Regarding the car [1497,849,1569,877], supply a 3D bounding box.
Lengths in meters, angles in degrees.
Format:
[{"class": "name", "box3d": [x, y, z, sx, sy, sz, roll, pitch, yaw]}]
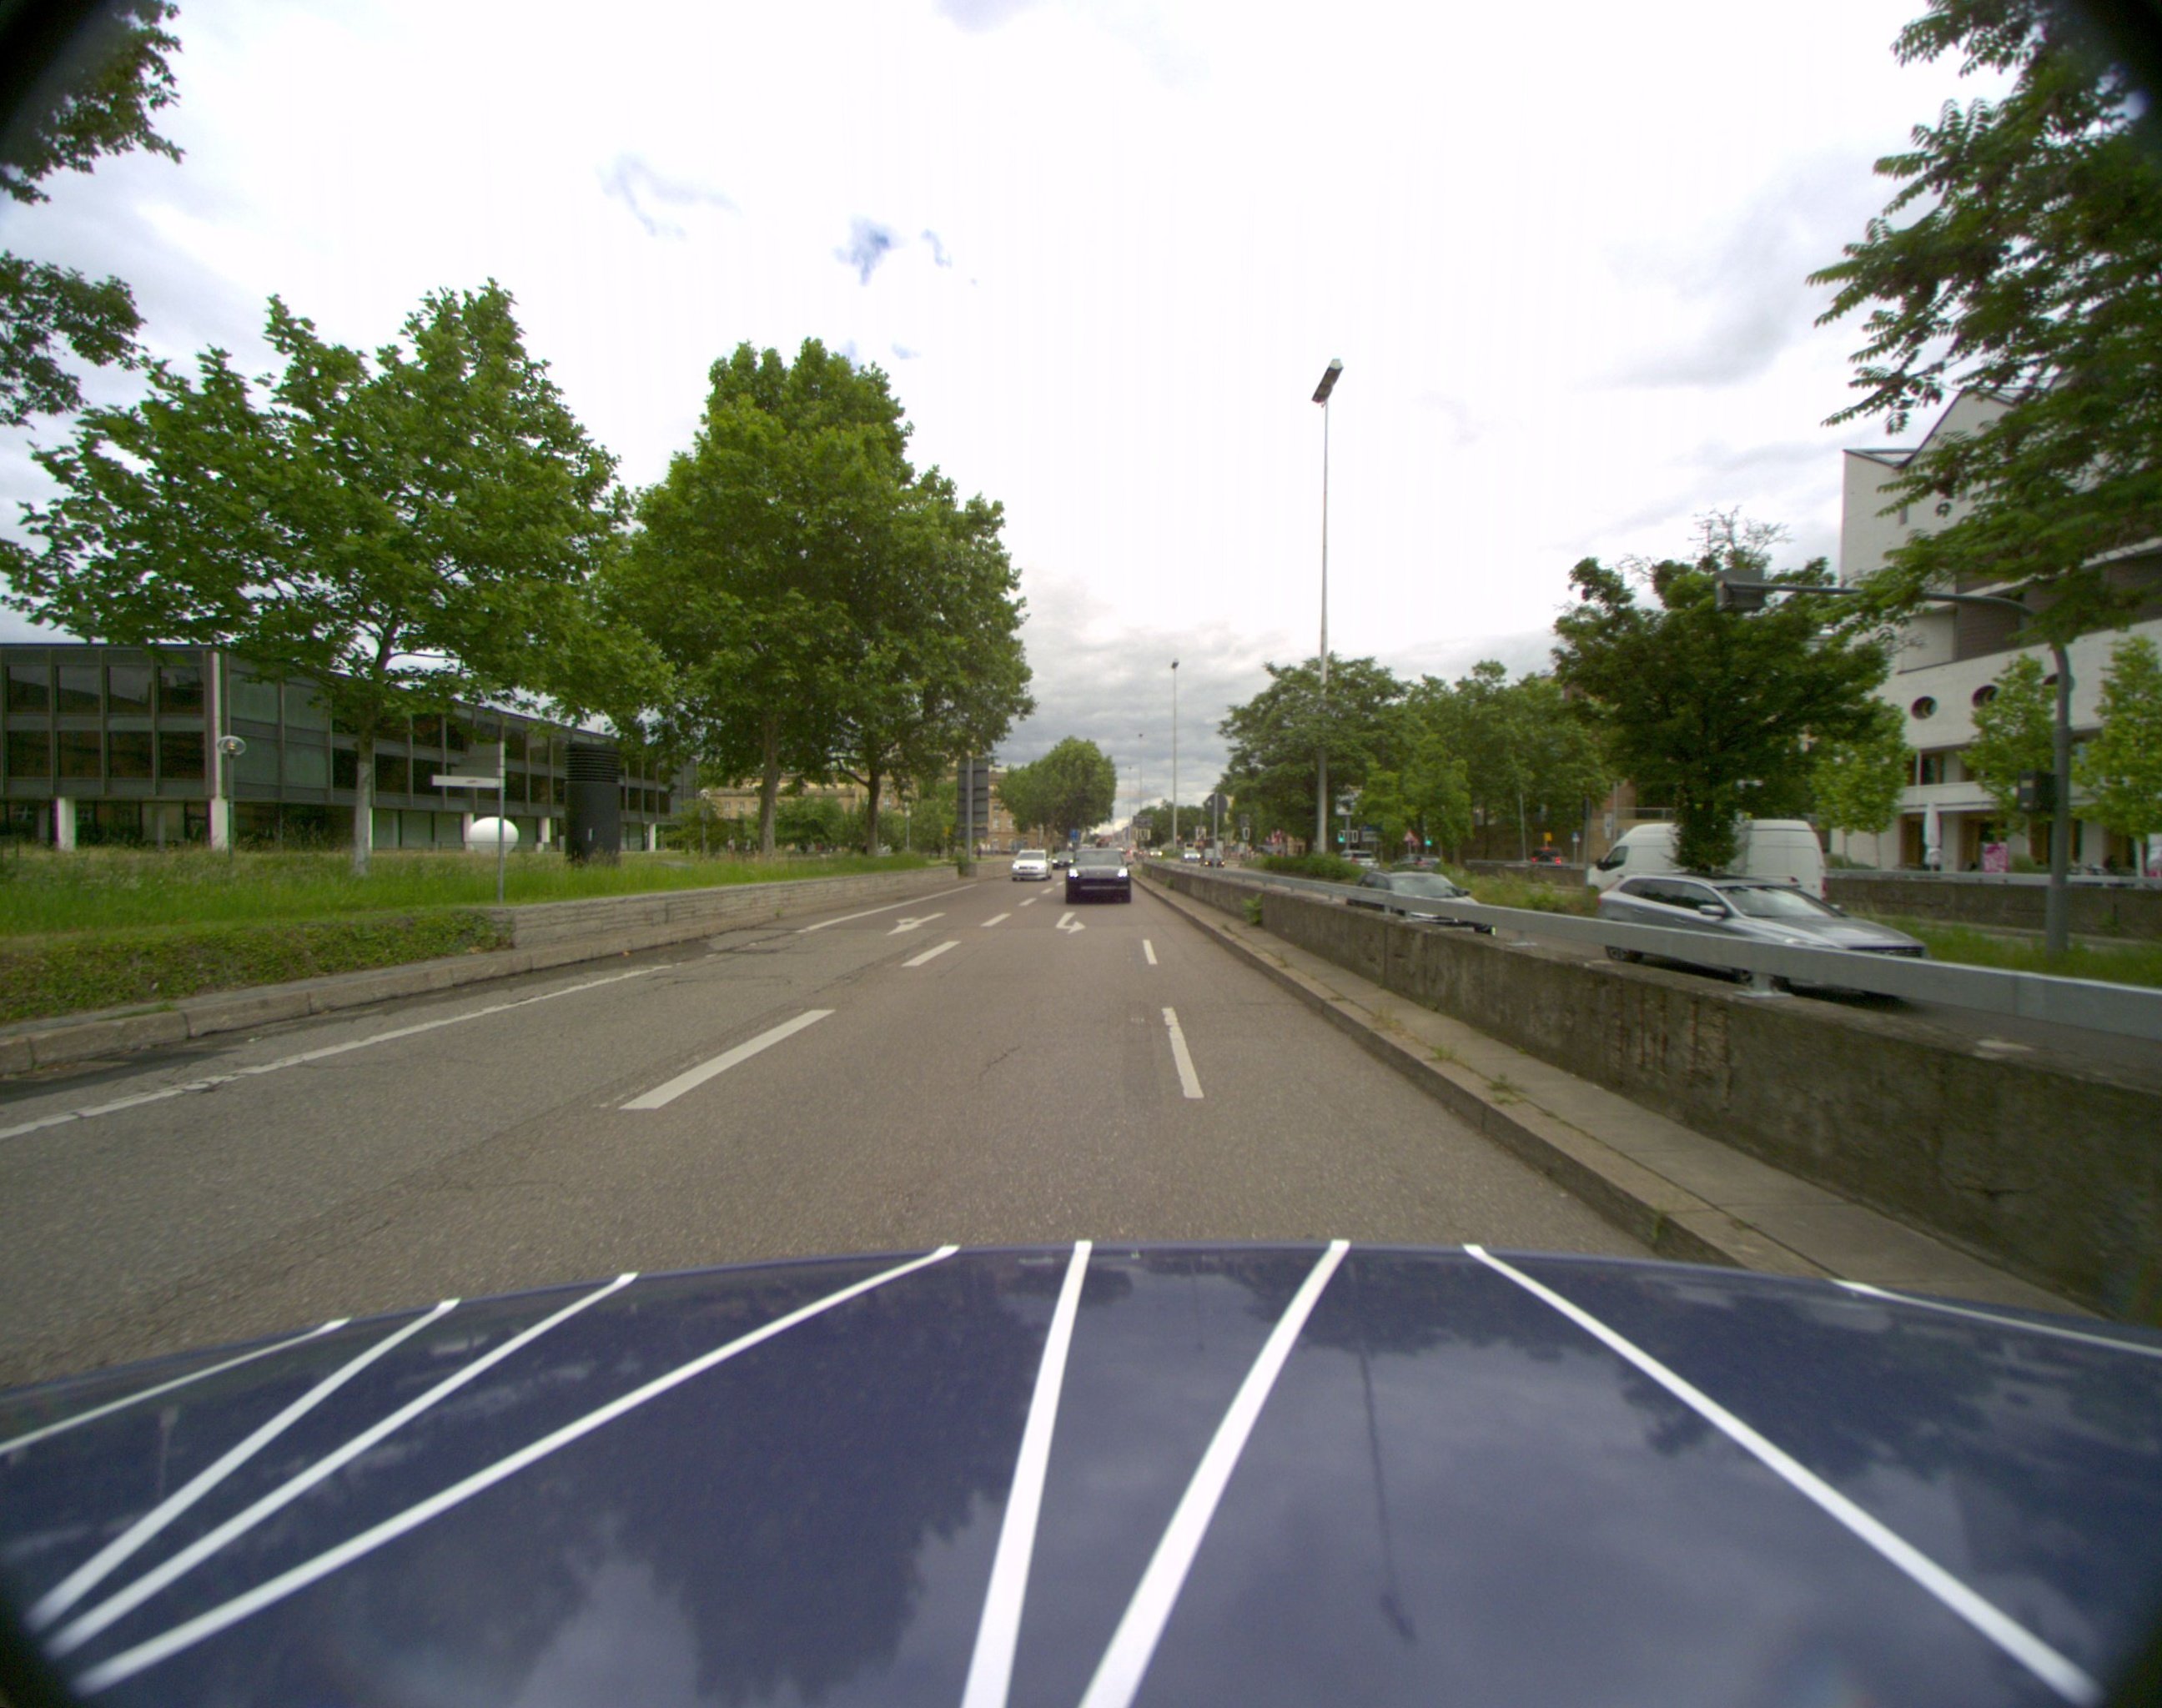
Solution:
[{"class": "car", "box3d": [29.718, 0.554, 50.092, 1.862, 1.707, 4.389, 1, 1, -5]}]

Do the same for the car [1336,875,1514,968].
[{"class": "car", "box3d": [7.124, 1.312, 16.237, 1.767, 1.507, 4.150, -1, 1, -2]}]

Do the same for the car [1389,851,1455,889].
[{"class": "car", "box3d": [19.781, 0.865, 44.317, 1.998, 2.002, 3.999, -2, 1, 0]}]

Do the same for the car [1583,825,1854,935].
[{"class": "car", "box3d": [17.075, 0.507, 21.009, 2.331, 2.511, 6.055, -2, 2, -1]}]

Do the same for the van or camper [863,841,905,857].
[{"class": "van or camper", "box3d": [-30.252, -0.766, 116.868, 5.711, 2.307, 2.320, -1, 2, 1]}]

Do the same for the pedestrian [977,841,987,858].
[{"class": "pedestrian", "box3d": [-9.287, -0.429, 71.152, 0.803, 1.617, 0.626, 1, 1, 9]}]

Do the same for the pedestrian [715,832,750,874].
[{"class": "pedestrian", "box3d": [-15.648, -0.033, 34.096, 0.997, 1.826, 1.032, -1, 2, 43]}]

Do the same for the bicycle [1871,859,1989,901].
[{"class": "bicycle", "box3d": [35.540, 1.078, 31.849, 3.622, 1.674, 1.183, 1, 1, 0]}]

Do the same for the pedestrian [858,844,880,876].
[{"class": "pedestrian", "box3d": [-12.020, 0.340, 43.054, 0.898, 1.722, 0.969, -2, 1, 2]}]

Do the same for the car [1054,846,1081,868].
[{"class": "car", "box3d": [-1.120, 0.211, 61.399, 2.062, 1.616, 4.600, -2, 0, -2]}]

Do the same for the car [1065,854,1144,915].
[{"class": "car", "box3d": [0.600, 0.837, 23.221, 2.062, 1.616, 4.600, 1, 1, -2]}]

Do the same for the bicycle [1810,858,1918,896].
[{"class": "bicycle", "box3d": [35.275, 1.016, 34.283, 3.622, 1.674, 1.183, 1, 1, 0]}]

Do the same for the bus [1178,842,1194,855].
[{"class": "bus", "box3d": [28.488, -1.482, 206.777, 2.919, 3.286, 10.448, 0, 1, 0]}]

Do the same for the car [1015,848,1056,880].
[{"class": "car", "box3d": [-2.370, 0.485, 40.393, 1.695, 1.585, 4.000, 0, 1, 3]}]

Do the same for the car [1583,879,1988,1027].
[{"class": "car", "box3d": [10.409, 1.325, 11.923, 1.998, 1.607, 4.737, 0, 1, 1]}]

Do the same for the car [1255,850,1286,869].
[{"class": "car", "box3d": [17.681, 0.459, 71.129, 1.861, 1.707, 4.445, 1, 1, 1]}]

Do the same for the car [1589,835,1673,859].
[{"class": "car", "box3d": [34.926, -0.439, 48.307, 3.997, 1.269, 1.751, -3, 2, 1]}]

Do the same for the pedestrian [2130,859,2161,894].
[{"class": "pedestrian", "box3d": [41.989, 0.890, 29.821, 0.649, 1.319, 0.636, 6, 0, 29]}]

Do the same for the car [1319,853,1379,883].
[{"class": "car", "box3d": [16.314, 0.805, 46.537, 1.862, 1.707, 4.443, 1, 1, -3]}]

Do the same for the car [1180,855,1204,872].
[{"class": "car", "box3d": [11.663, 0.984, 80.150, 1.998, 1.636, 4.000, -1, 0, 1]}]

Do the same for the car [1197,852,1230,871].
[{"class": "car", "box3d": [11.040, 0.611, 63.690, 1.998, 1.474, 4.809, 0, 0, 0]}]
